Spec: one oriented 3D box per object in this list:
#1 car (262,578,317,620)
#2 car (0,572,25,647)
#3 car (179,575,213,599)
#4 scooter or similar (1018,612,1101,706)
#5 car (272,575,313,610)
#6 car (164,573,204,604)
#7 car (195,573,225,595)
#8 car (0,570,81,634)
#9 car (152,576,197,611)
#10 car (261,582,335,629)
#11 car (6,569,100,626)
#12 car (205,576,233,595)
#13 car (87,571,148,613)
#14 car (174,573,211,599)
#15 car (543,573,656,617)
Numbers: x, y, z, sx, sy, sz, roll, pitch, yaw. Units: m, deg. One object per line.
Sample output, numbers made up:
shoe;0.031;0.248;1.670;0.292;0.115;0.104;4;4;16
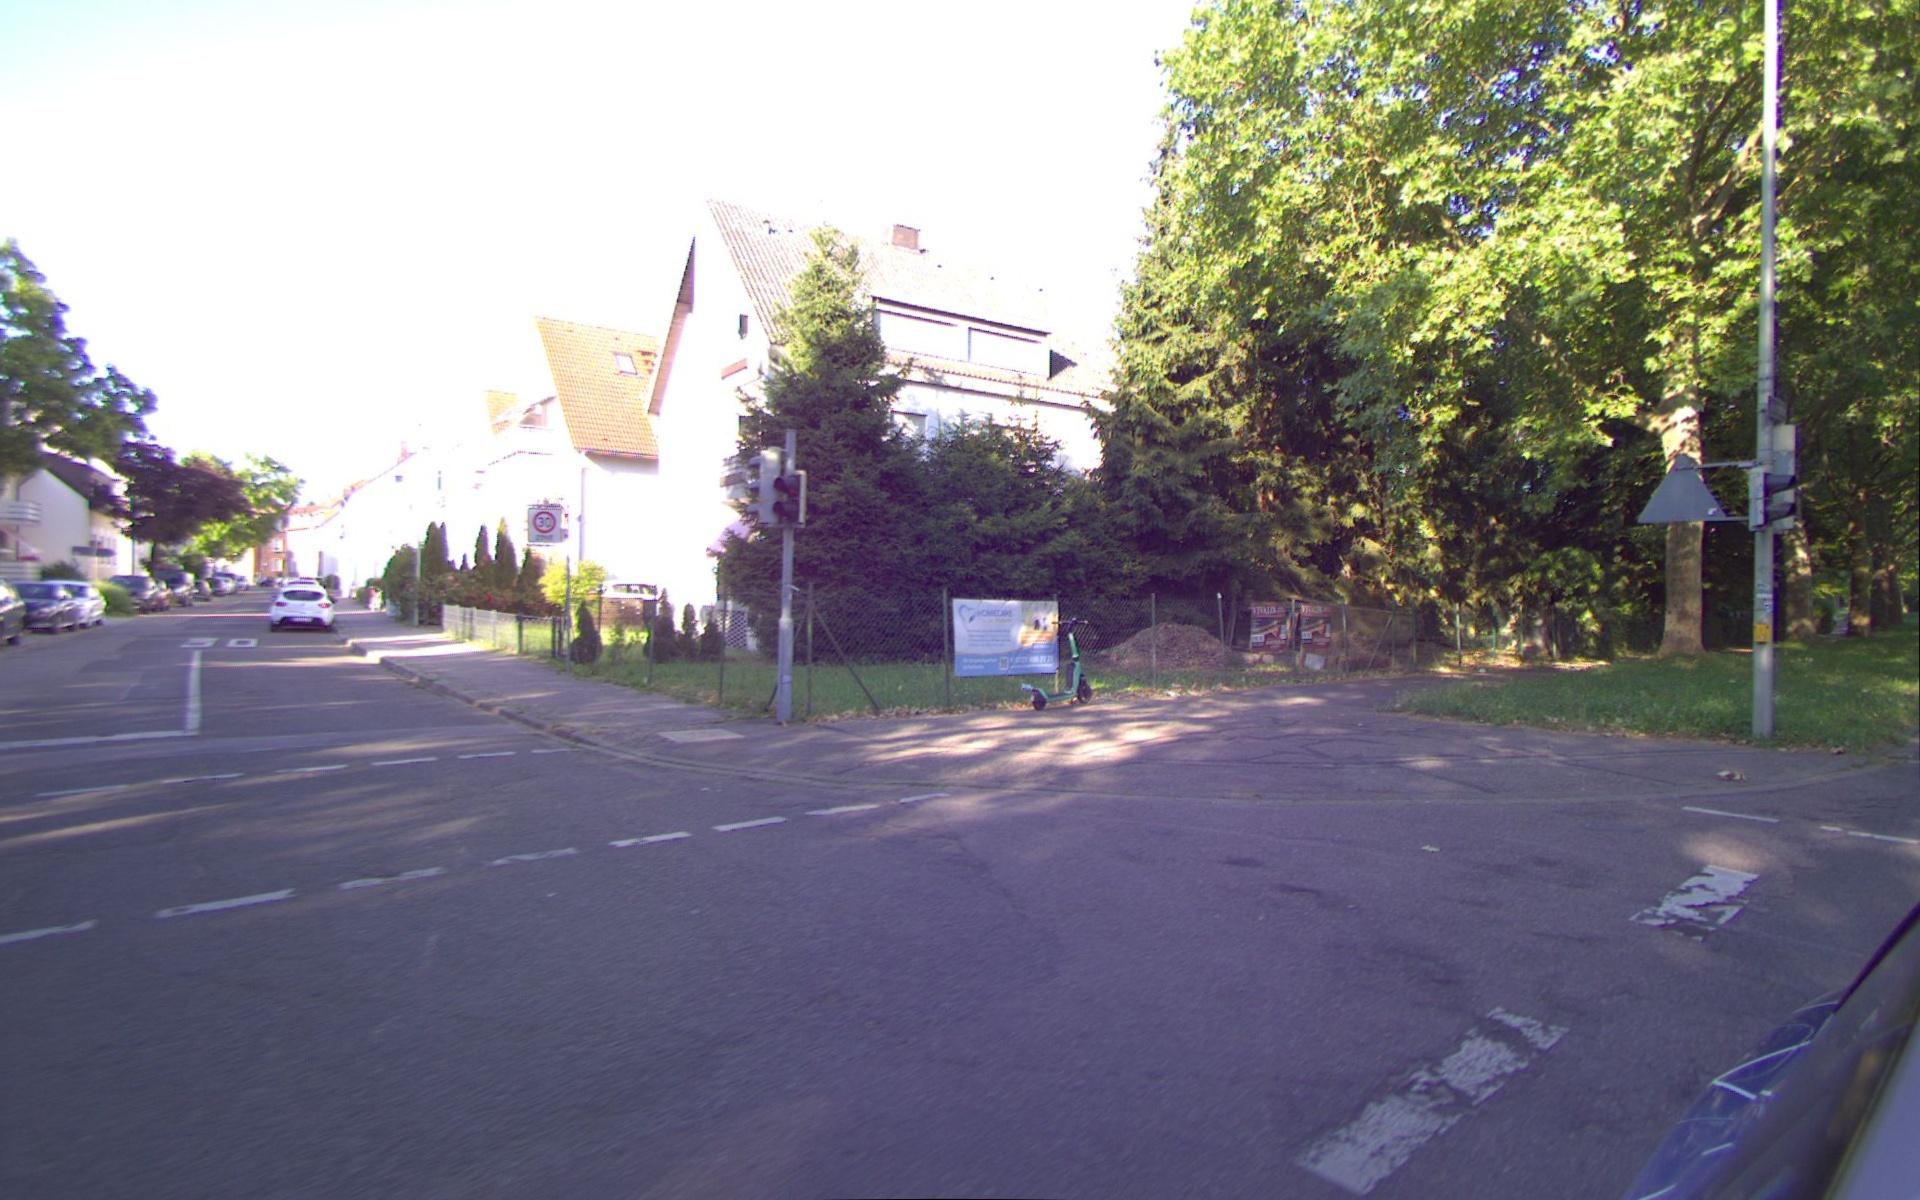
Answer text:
car;-25.224;-0.076;38.095;1.634;1.530;3.565;-1;1;-34
car;-22.212;0.142;22.336;1.833;1.615;3.758;5;-2;-37
car;-55.308;-0.935;73.306;1.745;1.683;3.546;1;0;-34
scooter or similar;1.350;0.764;13.551;1.233;1.212;0.383;1;-1;-43
car;-32.717;-0.362;49.596;1.634;1.644;3.565;1;1;-34
car;-43.812;-0.654;57.172;1.669;1.615;3.591;5;-2;-37
car;-60.955;-1.271;82.290;1.745;1.683;3.546;1;0;-34
car;-26.503;0.020;28.822;1.833;1.615;3.758;5;-2;-37
car;-38.809;-0.333;50.076;1.669;1.615;3.591;1;1;-37
car;-21.873;0.164;33.554;1.796;1.411;3.568;2;0;-30
car;-29.095;-0.099;32.562;1.833;1.615;3.758;5;-2;-37
car;-65.285;-1.265;89.188;1.745;1.683;3.546;1;0;-34
car;-35.279;-0.357;42.457;1.669;1.615;3.591;5;-2;-37
car;-52.663;-0.934;69.502;1.745;1.683;3.546;1;0;-34
car;-12.581;-0.140;35.346;3.511;1.439;1.707;1;-1;-27
